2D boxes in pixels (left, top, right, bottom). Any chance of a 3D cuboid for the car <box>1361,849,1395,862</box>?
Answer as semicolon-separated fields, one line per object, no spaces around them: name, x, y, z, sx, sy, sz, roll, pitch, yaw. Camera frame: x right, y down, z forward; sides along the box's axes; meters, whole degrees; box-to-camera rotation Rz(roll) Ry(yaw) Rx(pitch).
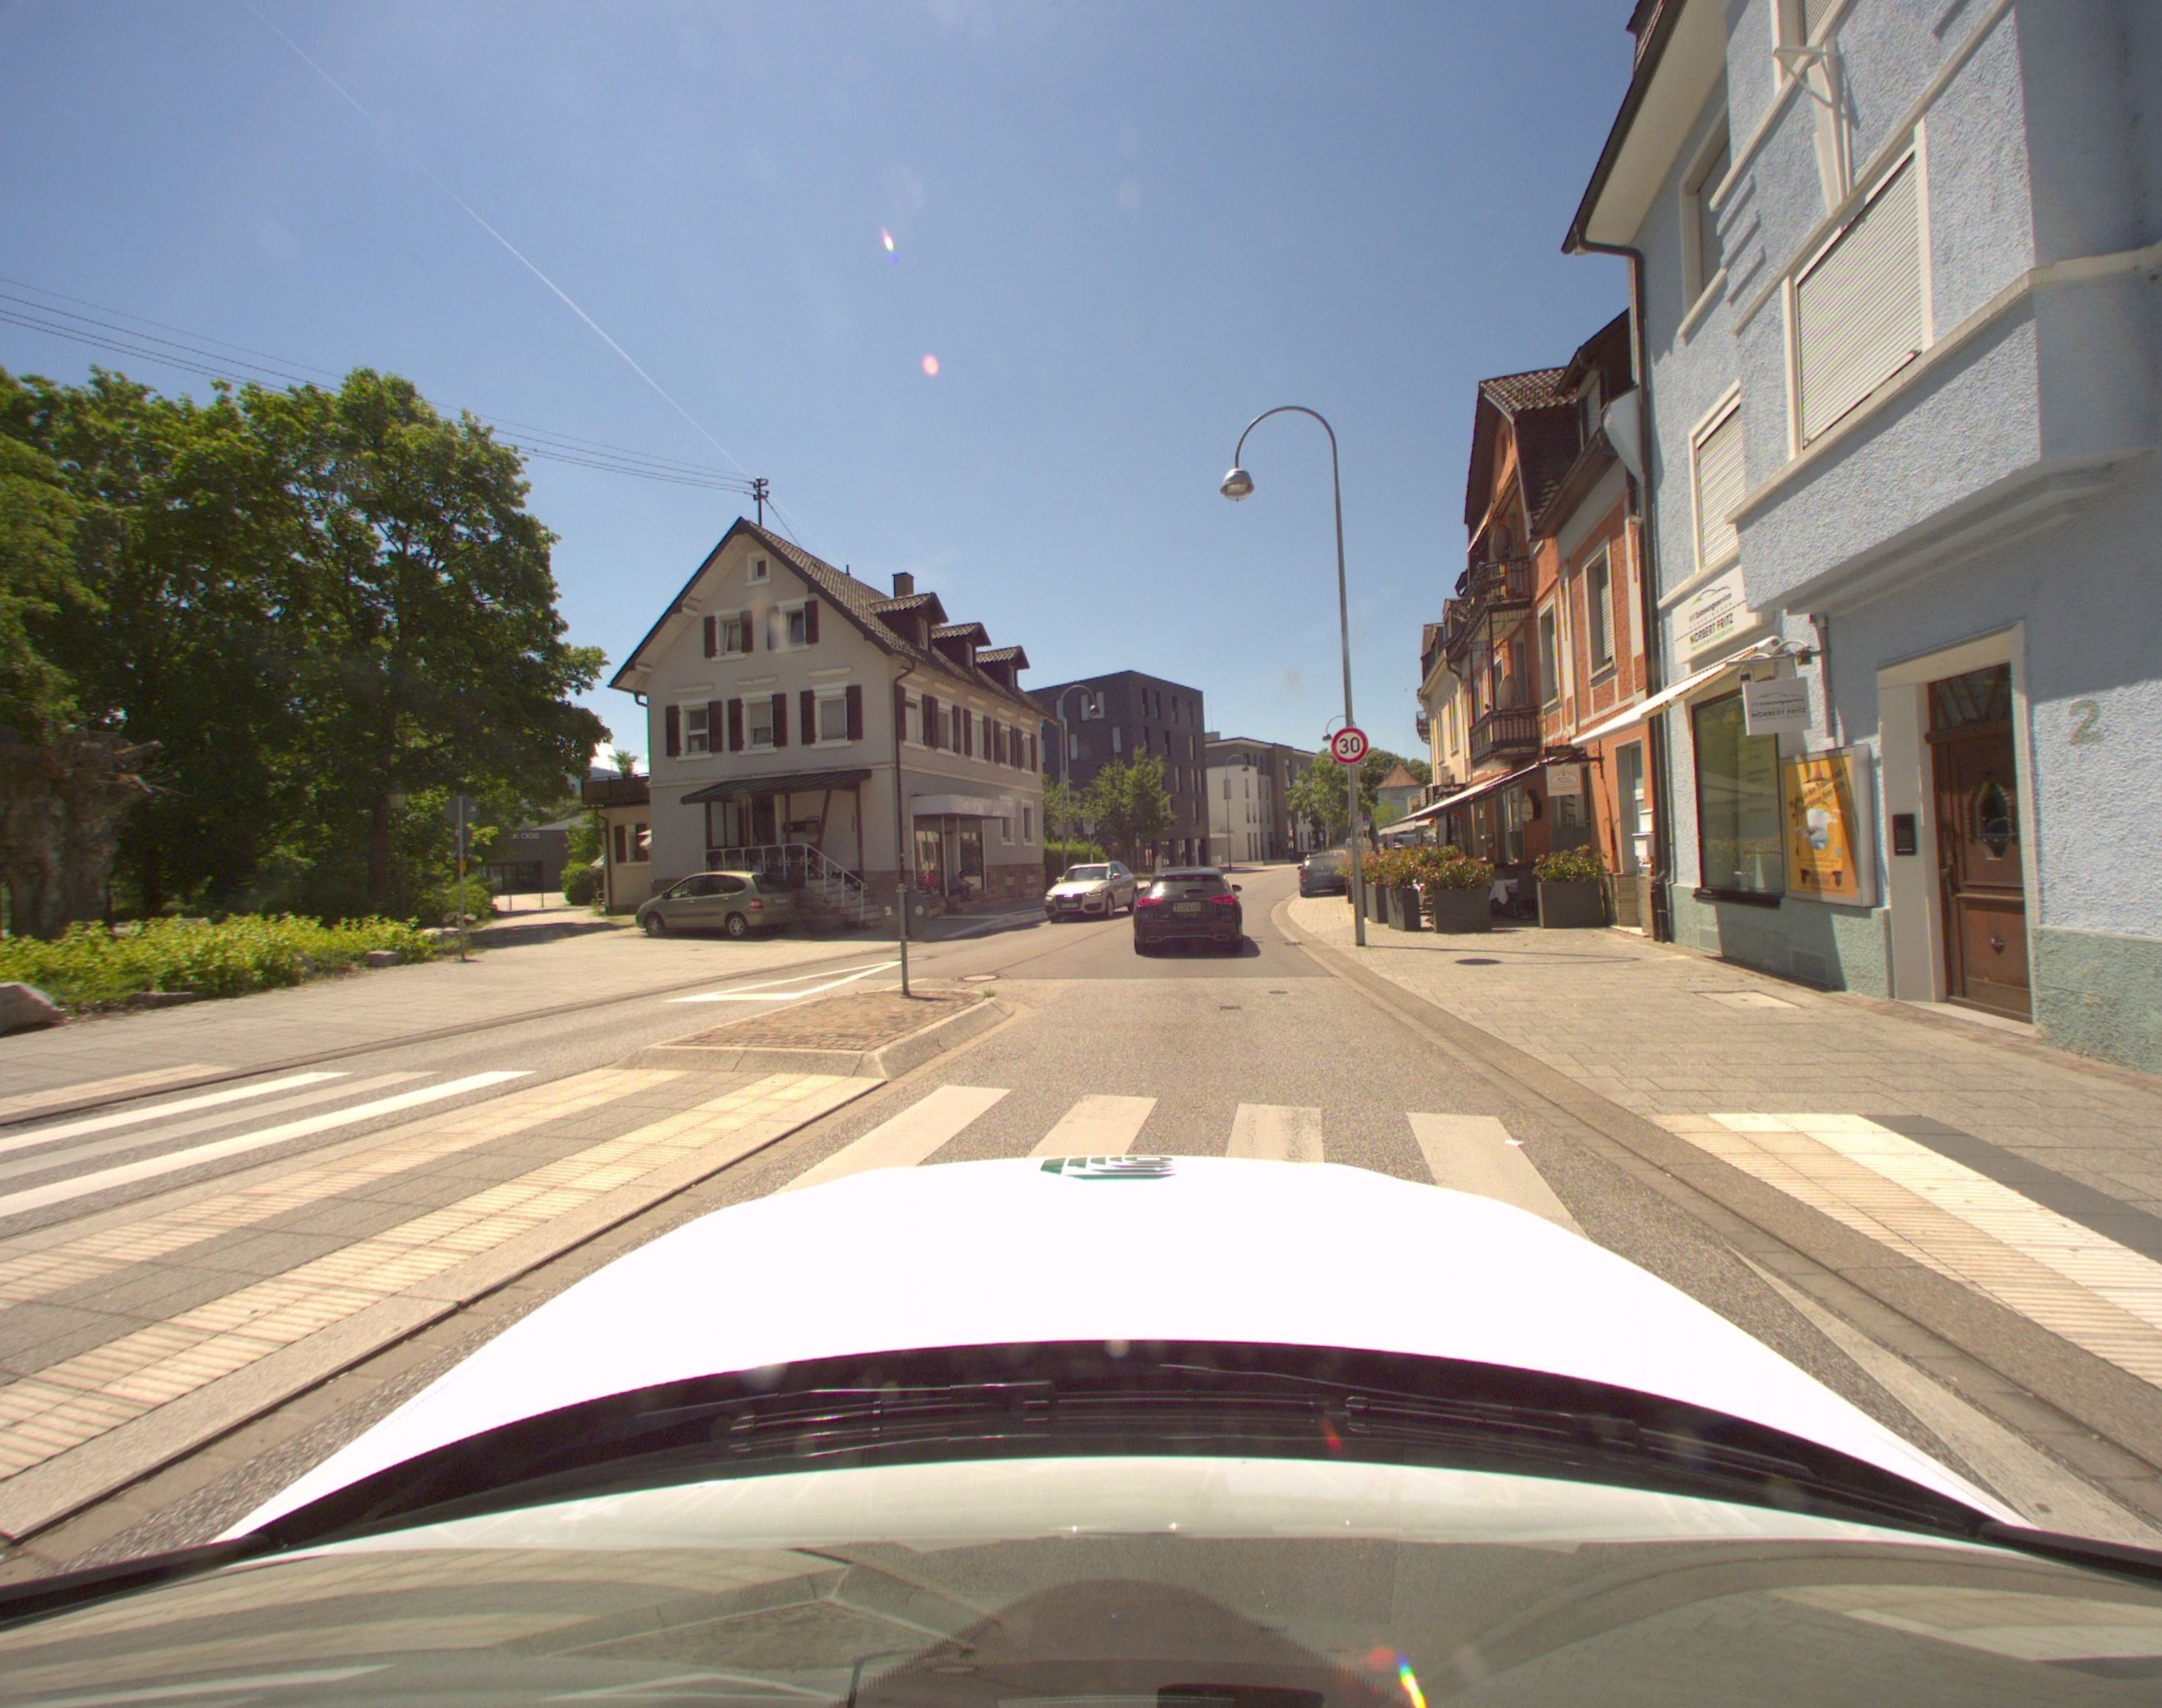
car;41.432;0.161;113.613;3.948;1.662;2.013;-2;-1;38

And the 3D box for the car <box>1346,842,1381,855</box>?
car;37.476;-0.746;108.083;3.948;1.662;2.013;-2;-1;38

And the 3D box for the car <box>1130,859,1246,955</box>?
car;1.997;0.878;15.005;1.753;1.457;4.448;-2;-2;8

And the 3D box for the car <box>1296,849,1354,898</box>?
car;8.867;0.674;29.445;1.736;1.486;4.019;-7;-2;18

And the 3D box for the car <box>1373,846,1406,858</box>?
car;44.797;-0.312;118.265;3.948;1.662;2.013;-2;-1;38

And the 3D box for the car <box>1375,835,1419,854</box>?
car;47.548;-1.368;122.588;5.587;2.579;2.531;-2;-1;39

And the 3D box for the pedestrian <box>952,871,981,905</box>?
pedestrian;-3.673;1.081;26.215;0.665;1.054;0.702;-2;-1;14

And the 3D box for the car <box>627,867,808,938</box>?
car;-9.162;1.219;20.570;3.955;1.640;1.766;-2;-1;18

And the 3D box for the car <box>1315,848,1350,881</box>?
car;13.134;0.538;42.551;1.593;1.530;3.507;-4;-1;17

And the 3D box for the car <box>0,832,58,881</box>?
car;-45.447;0.146;33.527;1.974;2.013;4.025;-2;0;41

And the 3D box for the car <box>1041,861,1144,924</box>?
car;0.439;1.049;23.753;1.661;1.543;4.104;-4;-1;20

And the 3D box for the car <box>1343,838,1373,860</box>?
car;26.447;-0.493;77.674;1.975;2.014;4.024;-2;-1;28
